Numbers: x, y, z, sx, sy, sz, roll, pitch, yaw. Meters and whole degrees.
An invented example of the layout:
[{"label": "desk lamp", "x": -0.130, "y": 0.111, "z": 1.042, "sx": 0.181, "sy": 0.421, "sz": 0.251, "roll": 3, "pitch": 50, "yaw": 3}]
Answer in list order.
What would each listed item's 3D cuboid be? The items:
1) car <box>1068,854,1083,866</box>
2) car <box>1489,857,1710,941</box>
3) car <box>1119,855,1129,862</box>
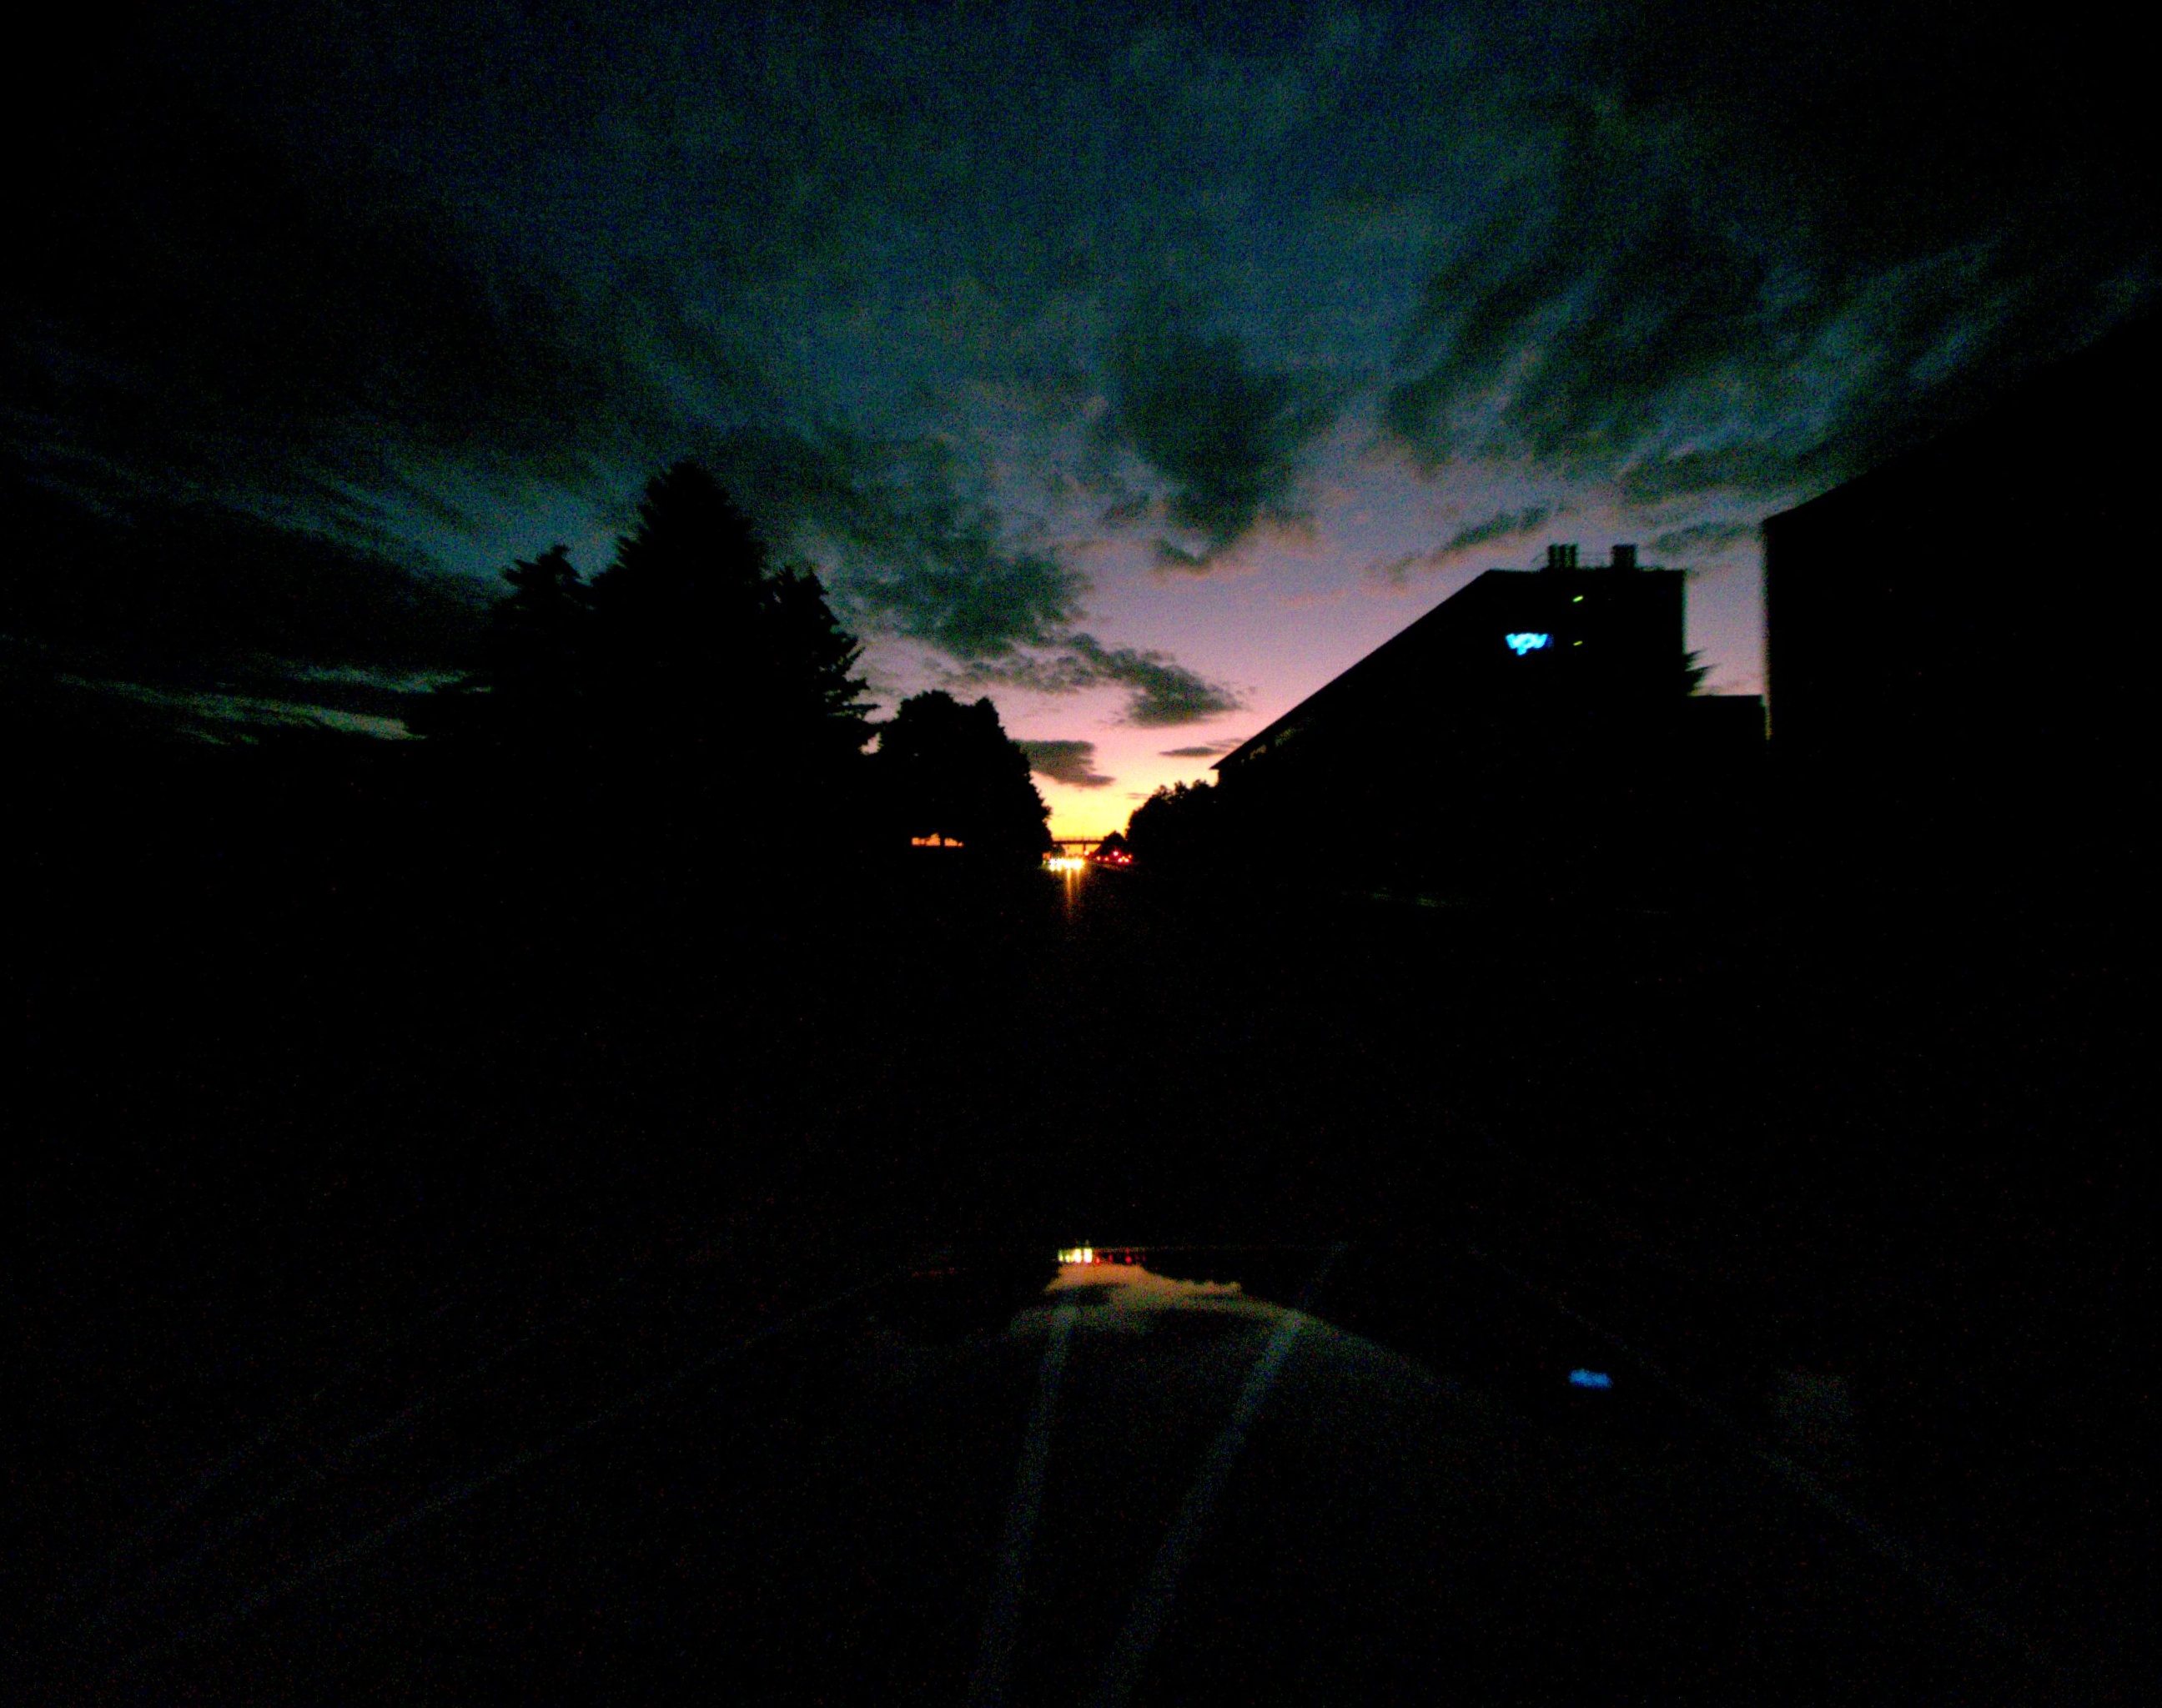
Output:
[{"label": "car", "x": -0.707, "y": 0.755, "z": 96.293, "sx": 1.756, "sy": 1.447, "sz": 3.804, "roll": -1, "pitch": 0, "yaw": 1}, {"label": "car", "x": 10.268, "y": 0.813, "z": 15.466, "sx": 1.840, "sy": 1.460, "sz": 3.845, "roll": 1, "pitch": 0, "yaw": 0}, {"label": "car", "x": 8.830, "y": 0.826, "z": 155.558, "sx": 1.693, "sy": 1.372, "sz": 3.571, "roll": -1, "pitch": 0, "yaw": -1}]
